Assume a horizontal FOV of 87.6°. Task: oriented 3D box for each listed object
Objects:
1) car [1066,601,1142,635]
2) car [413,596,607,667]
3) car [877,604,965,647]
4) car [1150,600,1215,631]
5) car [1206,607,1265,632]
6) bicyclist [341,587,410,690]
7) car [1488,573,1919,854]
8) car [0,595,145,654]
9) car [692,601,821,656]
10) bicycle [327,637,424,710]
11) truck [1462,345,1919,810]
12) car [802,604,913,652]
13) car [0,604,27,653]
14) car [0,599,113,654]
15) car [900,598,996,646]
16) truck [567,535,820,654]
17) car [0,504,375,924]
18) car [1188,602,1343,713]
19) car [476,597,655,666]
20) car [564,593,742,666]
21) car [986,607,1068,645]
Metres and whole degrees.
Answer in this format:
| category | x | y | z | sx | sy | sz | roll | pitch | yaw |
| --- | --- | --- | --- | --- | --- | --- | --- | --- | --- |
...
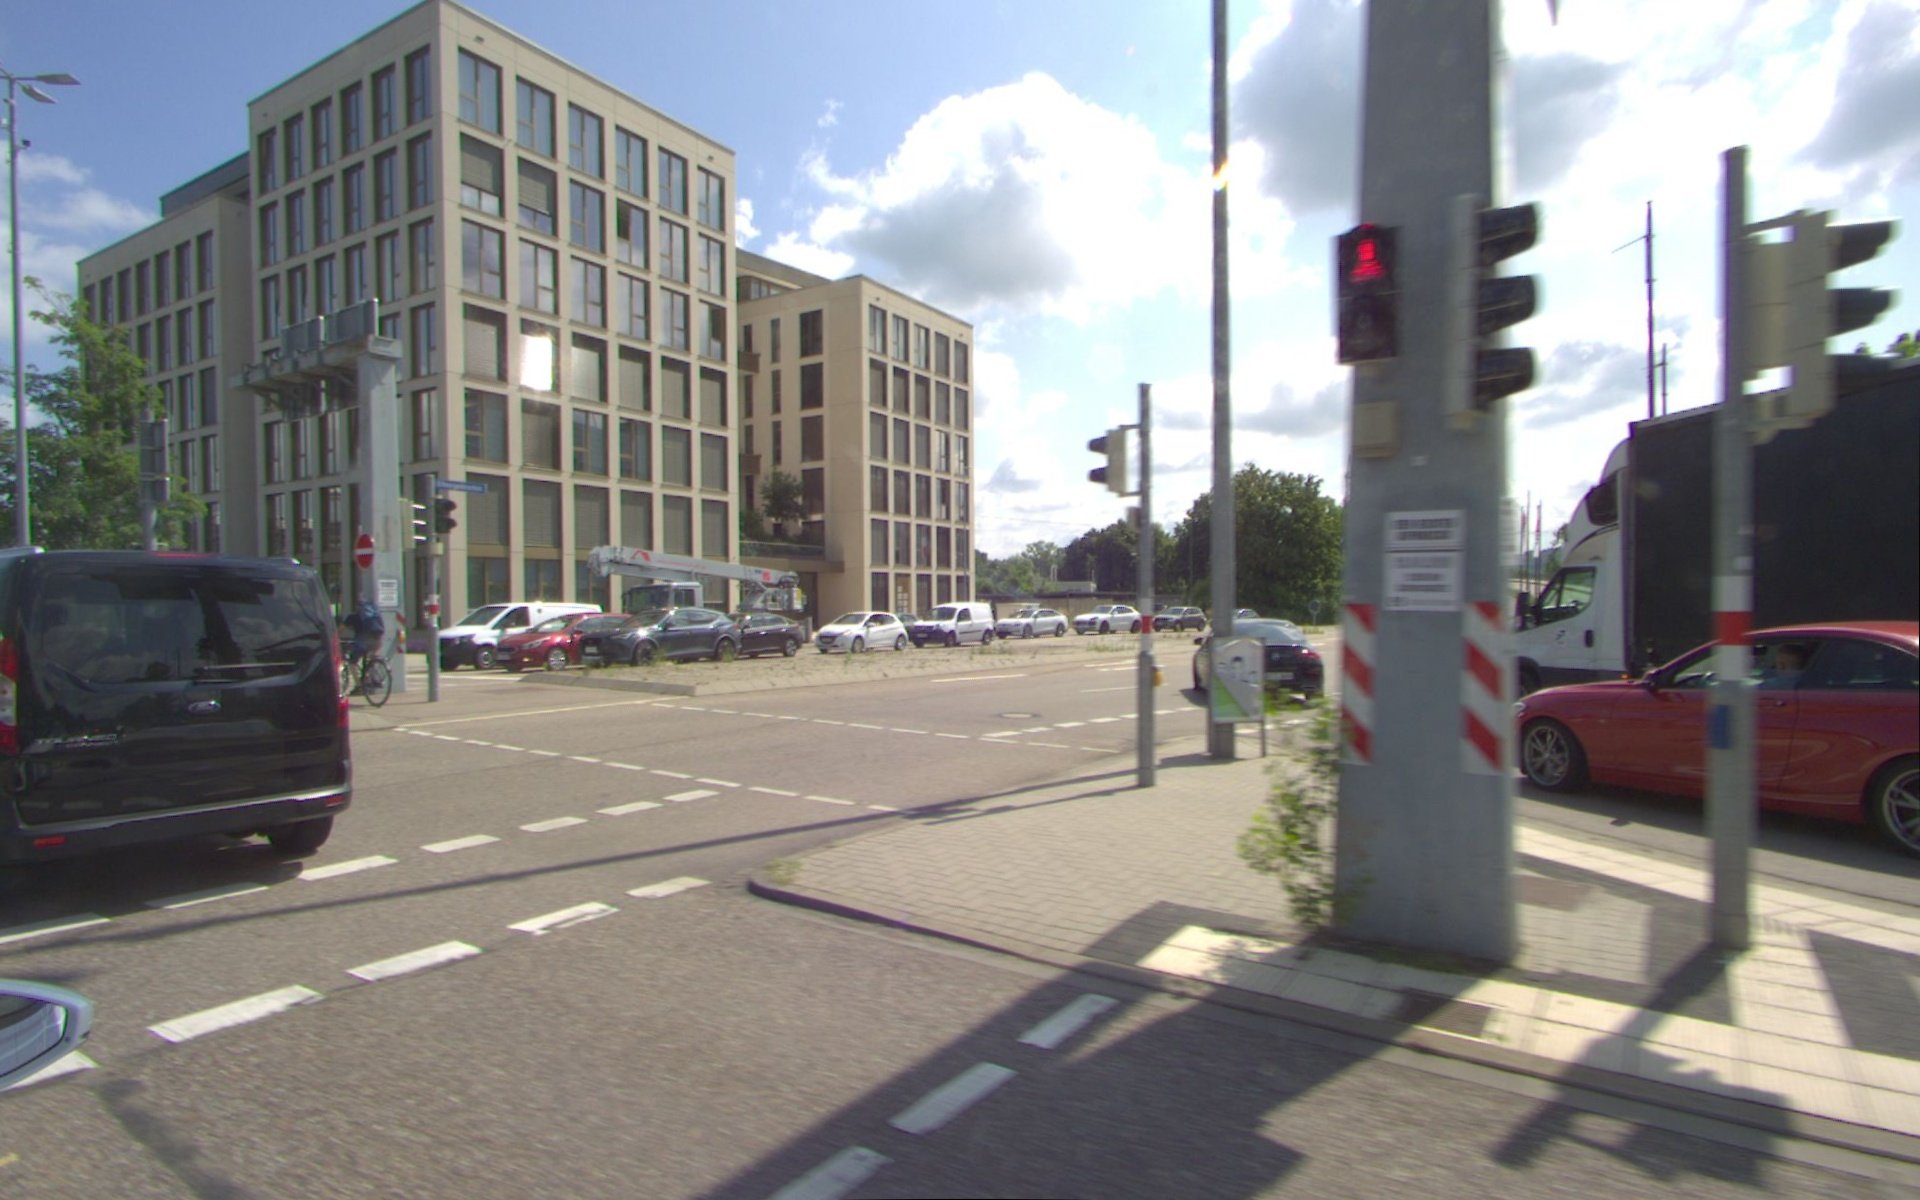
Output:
| category | x | y | z | sx | sy | sz | roll | pitch | yaw |
| --- | --- | --- | --- | --- | --- | --- | --- | --- | --- |
| car | 8.350 | 1.094 | 57.890 | 4.668 | 1.861 | 1.811 | 2 | -3 | -43 |
| car | -12.841 | 0.930 | 28.961 | 1.970 | 1.861 | 4.973 | -2 | -3 | 29 |
| car | -1.747 | 1.220 | 46.062 | 1.803 | 1.861 | 4.421 | -2 | -3 | 34 |
| car | 14.069 | 1.006 | 63.123 | 4.402 | 1.861 | 1.811 | 1 | -3 | -43 |
| car | 18.643 | 1.333 | 67.746 | 4.402 | 1.634 | 1.811 | 2 | -3 | -43 |
| bicyclist | -8.787 | 0.584 | 15.057 | 0.905 | 1.496 | 0.633 | -2 | -2 | 40 |
| car | 6.273 | 0.728 | 7.283 | 1.832 | 1.676 | 4.213 | 0 | -2 | -18 |
| car | -33.047 | 0.951 | 37.115 | 1.969 | 2.039 | 3.985 | -2 | -2 | 28 |
| car | -6.447 | 0.944 | 32.127 | 1.800 | 1.647 | 4.195 | -2 | -3 | 29 |
| bicycle | -8.810 | 1.085 | 15.065 | 1.955 | 1.024 | 0.644 | -3 | -2 | 40 |
| truck | 9.734 | -0.145 | 10.320 | 3.163 | 4.077 | 9.067 | 0 | -2 | -12 |
| car | -3.671 | 1.036 | 36.463 | 1.803 | 1.647 | 4.190 | -2 | -3 | 33 |
| car | -41.391 | 1.160 | 41.216 | 1.969 | 2.039 | 3.985 | -2 | -2 | 28 |
| car | -35.937 | 1.067 | 39.065 | 1.969 | 2.039 | 3.985 | -2 | -2 | 28 |
| car | -0.439 | 0.951 | 41.457 | 1.803 | 1.861 | 4.421 | -2 | -3 | 34 |
| truck | -8.940 | 0.025 | 35.303 | 2.635 | 3.599 | 9.745 | -2 | -2 | 29 |
| car | -5.610 | 0.582 | 6.356 | 3.947 | 1.929 | 1.818 | -2 | -1 | 35 |
| car | 5.204 | 0.897 | 17.629 | 1.829 | 1.677 | 4.218 | 1 | 0 | 6 |
| car | -10.164 | 0.837 | 26.130 | 1.800 | 1.647 | 4.195 | -2 | -3 | 29 |
| car | -7.507 | 0.753 | 24.876 | 1.800 | 1.647 | 4.195 | -2 | -3 | 29 |
| car | 3.598 | 1.395 | 52.939 | 1.808 | 1.861 | 4.686 | -2 | -3 | 42 |
